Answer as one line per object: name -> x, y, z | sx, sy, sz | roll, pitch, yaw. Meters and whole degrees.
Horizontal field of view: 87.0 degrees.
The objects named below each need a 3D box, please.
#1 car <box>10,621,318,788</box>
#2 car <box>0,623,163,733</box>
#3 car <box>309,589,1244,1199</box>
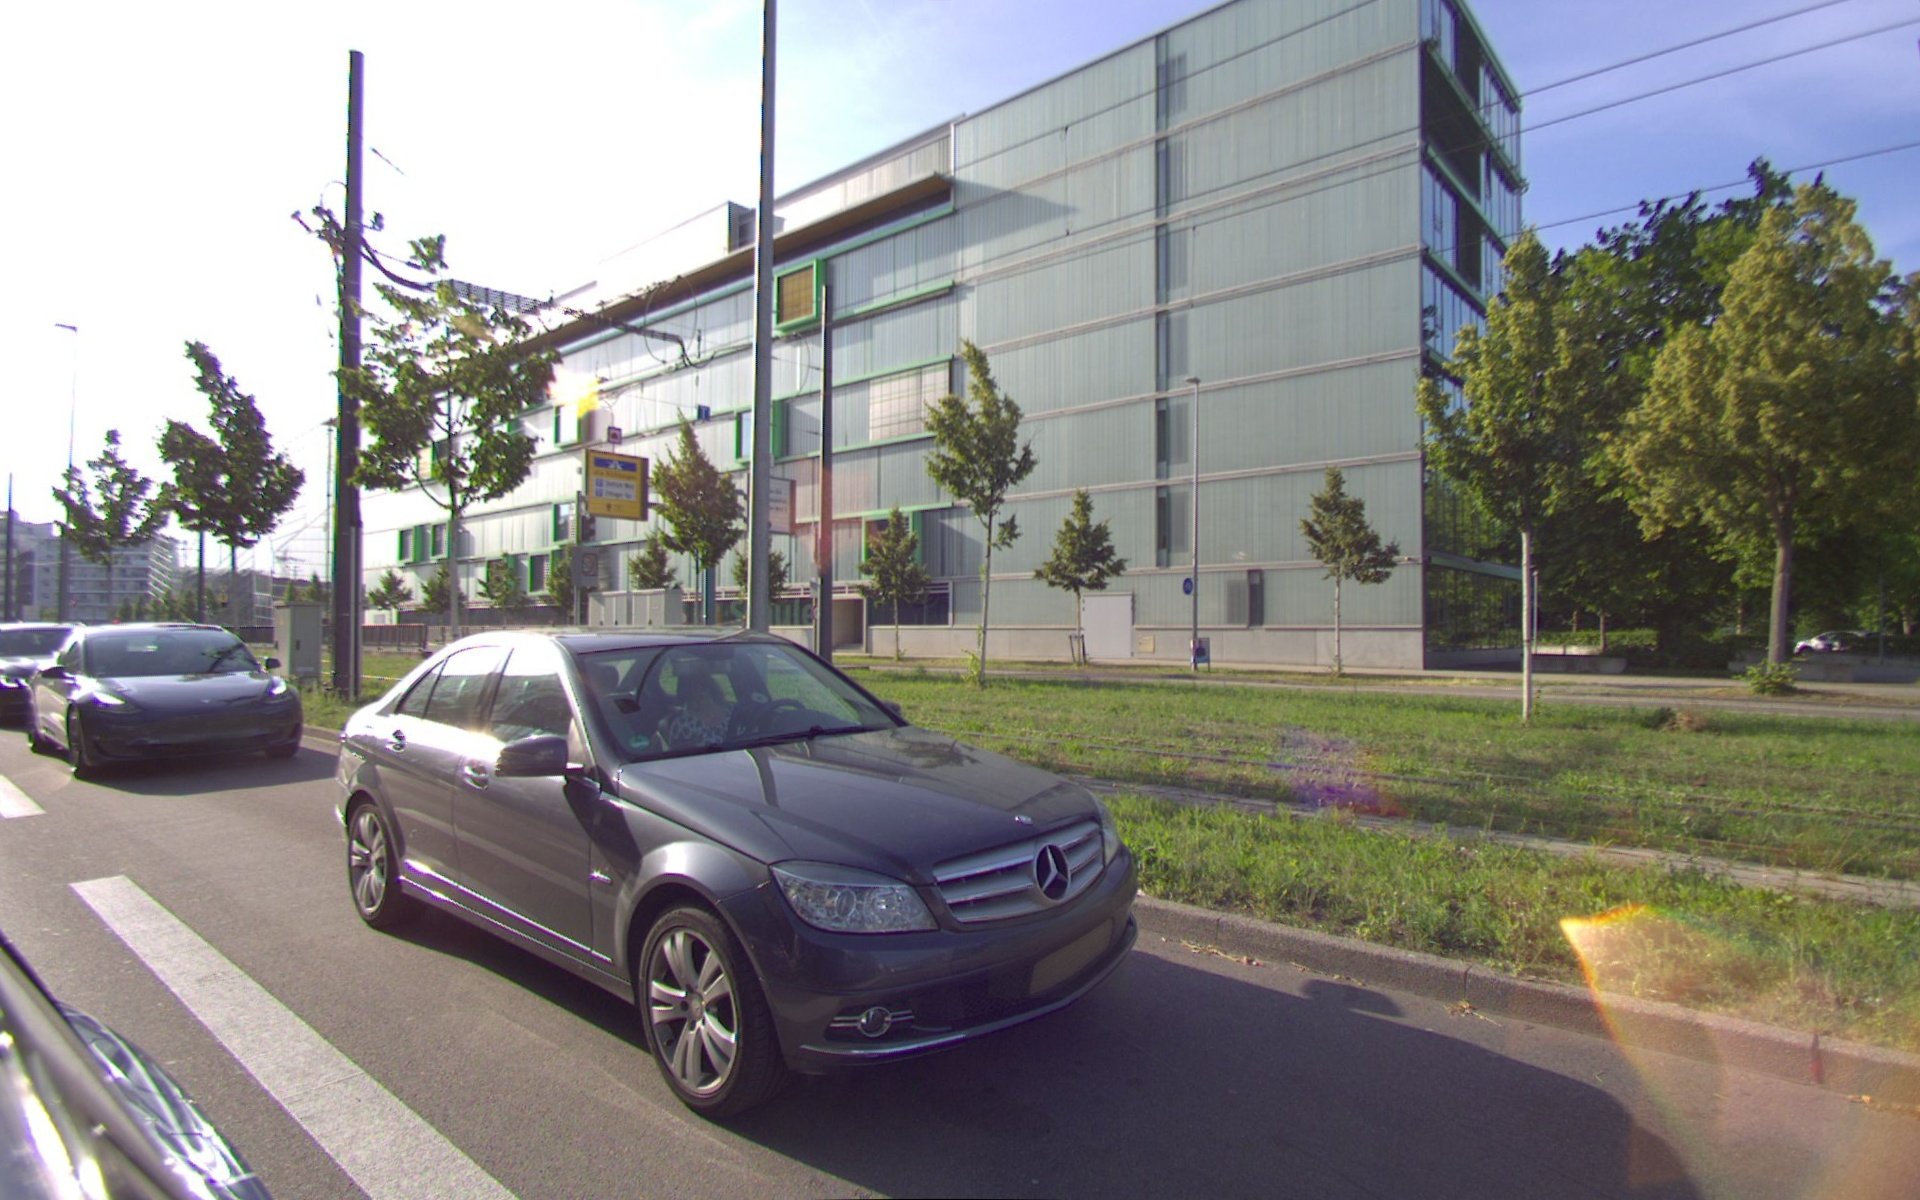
car -> -8.697, 0.979, 10.912 | 4.333, 1.396, 1.870 | -2, -1, 41
car -> -14.278, 1.137, 15.660 | 4.463, 1.437, 1.873 | -2, -1, 35
car -> -1.189, 0.773, 4.459 | 4.353, 1.490, 1.767 | -2, -1, 42
